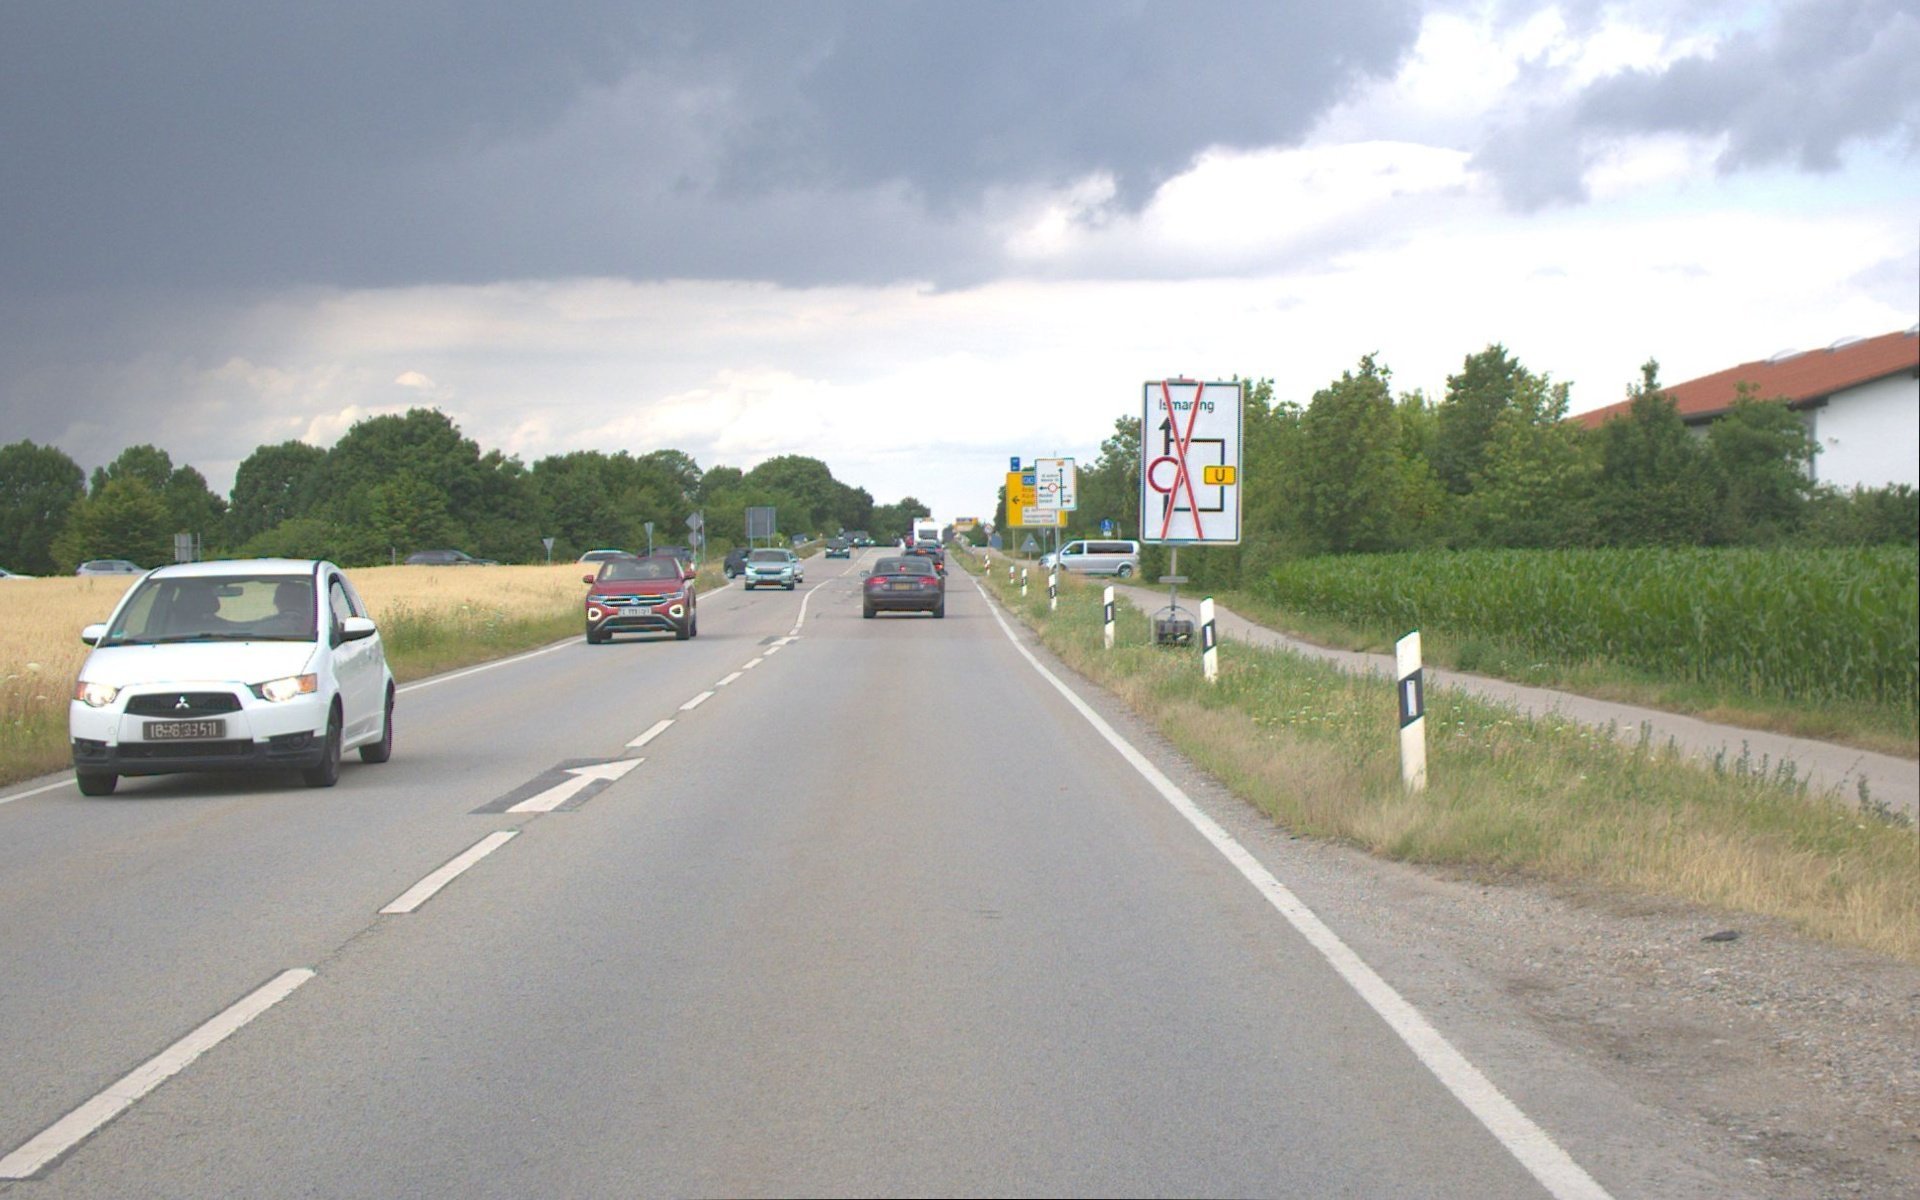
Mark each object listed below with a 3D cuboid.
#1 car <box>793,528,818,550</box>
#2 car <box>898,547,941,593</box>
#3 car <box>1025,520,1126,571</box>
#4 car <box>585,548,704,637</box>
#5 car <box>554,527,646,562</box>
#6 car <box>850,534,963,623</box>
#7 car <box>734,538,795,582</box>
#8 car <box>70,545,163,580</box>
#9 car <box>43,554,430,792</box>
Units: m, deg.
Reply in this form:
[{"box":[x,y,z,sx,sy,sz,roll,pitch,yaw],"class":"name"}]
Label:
[{"box":[-11.206,-4.433,249.539,1.646,1.585,4.000,-1,1,0],"class":"car"},{"box":[-1.527,-1.137,129.566,1.571,1.695,4.000,-1,1,0],"class":"car"},{"box":[5.739,-2.725,171.408,4.835,2.443,2.006,-1,1,-3],"class":"car"},{"box":[-5.586,-0.159,61.322,1.712,1.483,4.609,-1,1,-1],"class":"car"},{"box":[-17.552,-2.686,167.642,4.412,1.643,1.502,-1,1,-5],"class":"car"},{"box":[-1.255,-0.514,78.441,2.371,1.874,4.478,-2,1,-3],"class":"car"},{"box":[-7.540,-1.565,132.916,2.065,1.575,4.765,-2,1,-1],"class":"car"},{"box":[-41.505,-1.850,169.234,4.072,1.643,1.866,-1,1,4],"class":"car"},{"box":[-4.855,0.430,23.622,1.806,1.451,4.114,-1,1,-1],"class":"car"}]
